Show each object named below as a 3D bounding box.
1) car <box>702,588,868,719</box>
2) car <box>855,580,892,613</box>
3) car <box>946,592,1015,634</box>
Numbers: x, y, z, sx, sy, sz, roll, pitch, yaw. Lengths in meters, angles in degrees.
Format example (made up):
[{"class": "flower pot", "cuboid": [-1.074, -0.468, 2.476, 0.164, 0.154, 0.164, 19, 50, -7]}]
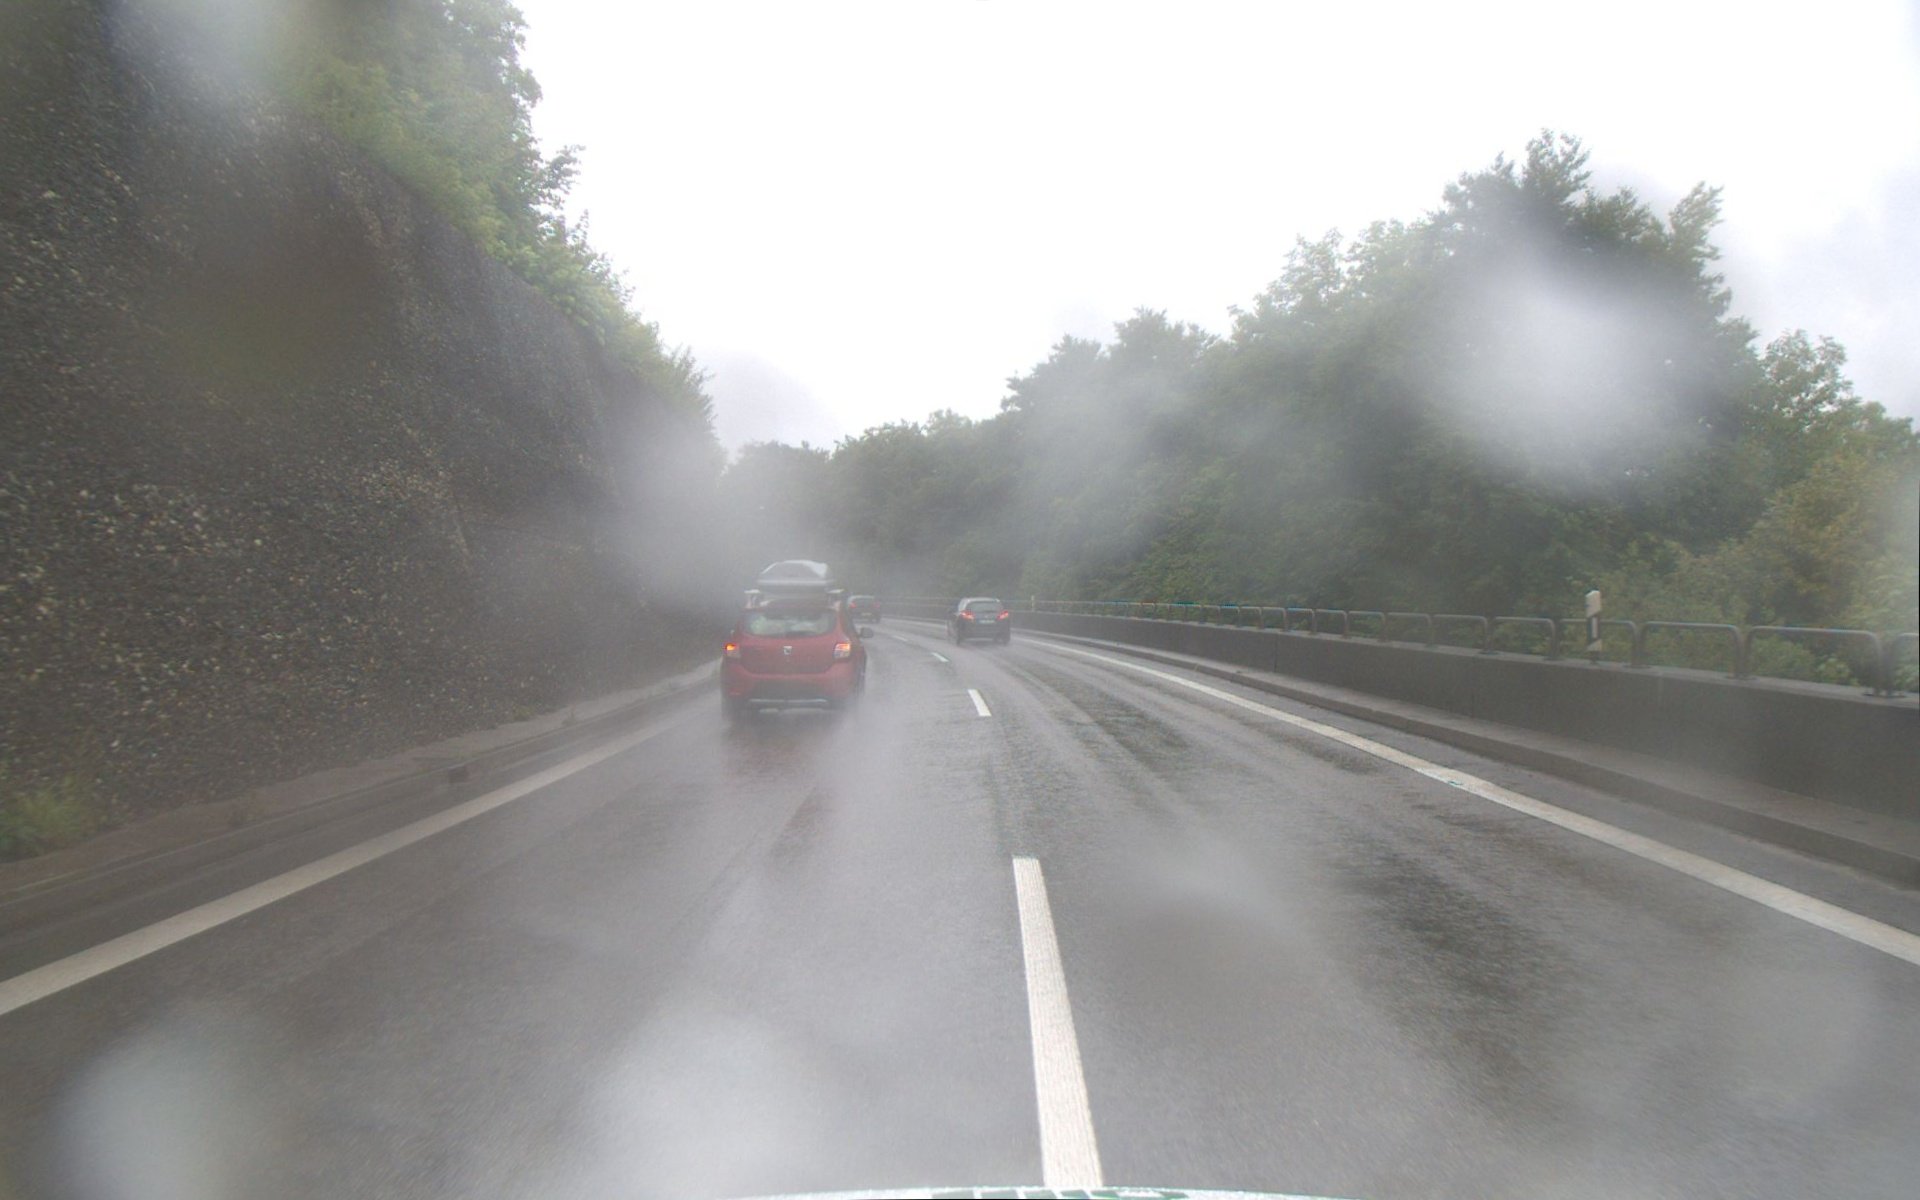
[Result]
[{"class": "car", "cuboid": [-2.222, 0.638, 21.998, 1.954, 1.579, 3.998, 0, 0, -3]}, {"class": "car", "cuboid": [-4.815, -0.163, 91.403, 1.954, 1.780, 3.996, 1, -1, -4]}, {"class": "car", "cuboid": [0.647, 0.411, 54.814, 1.766, 1.330, 3.993, 0, 0, -7]}]
